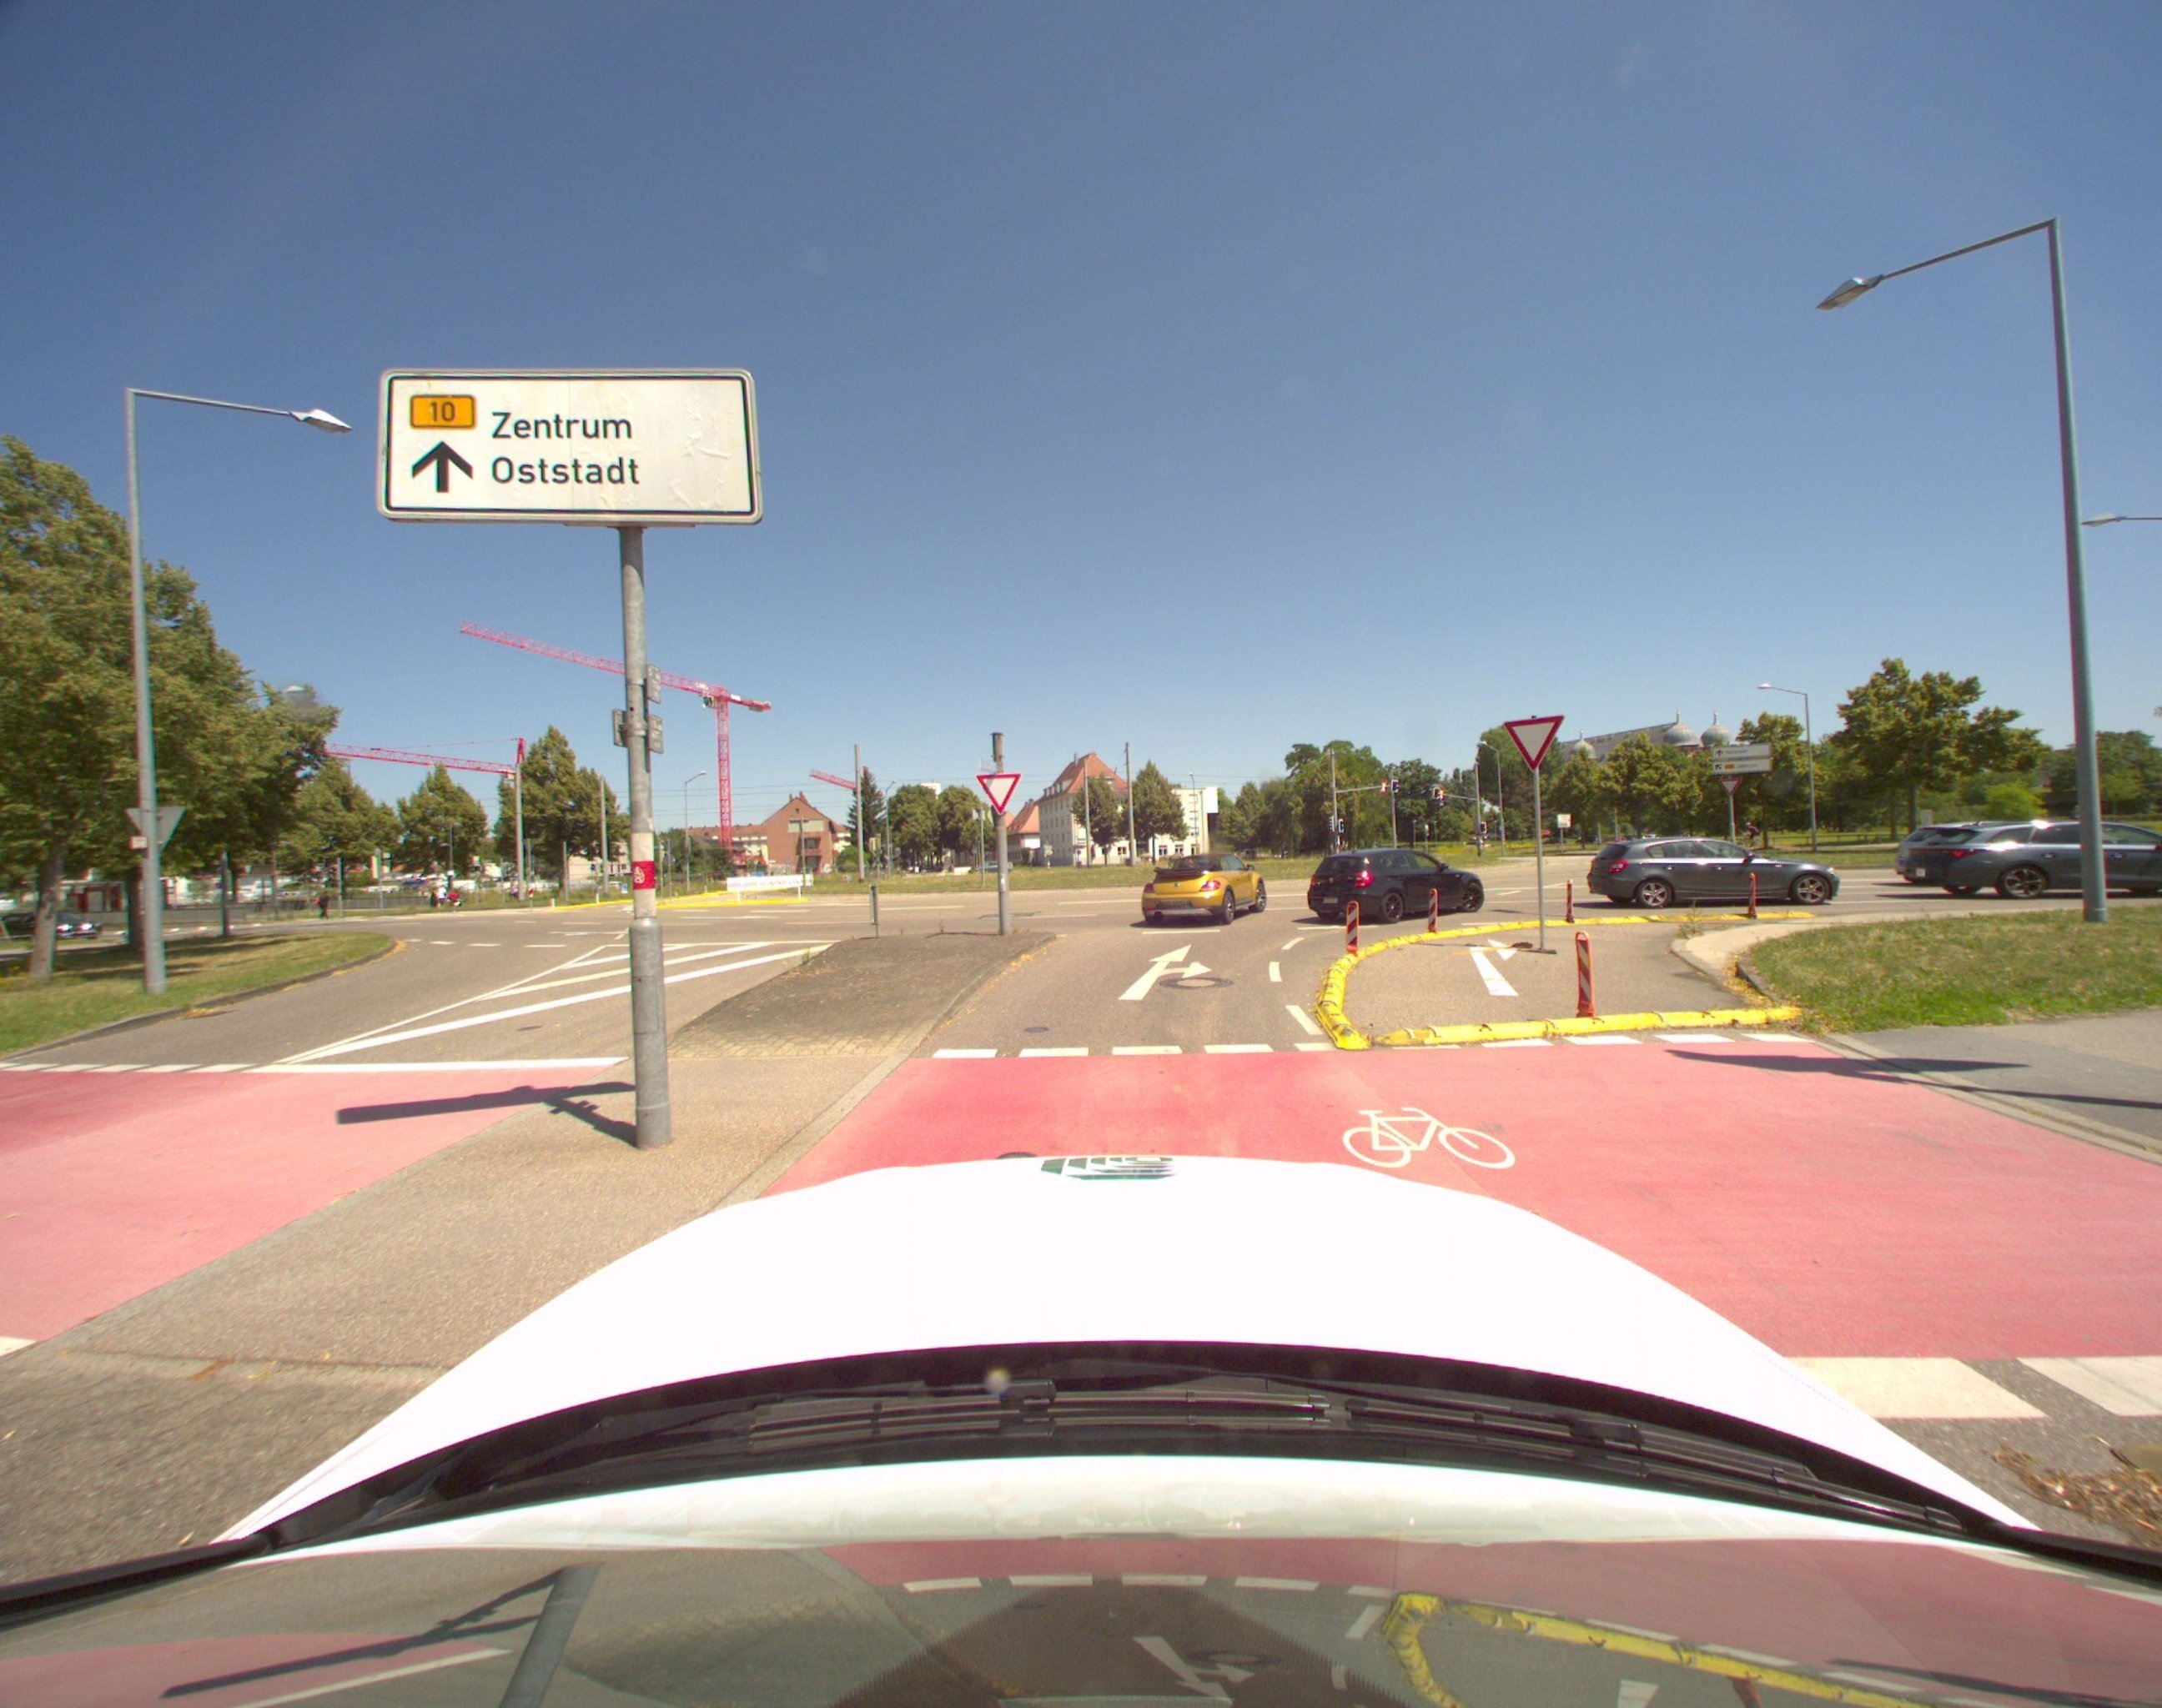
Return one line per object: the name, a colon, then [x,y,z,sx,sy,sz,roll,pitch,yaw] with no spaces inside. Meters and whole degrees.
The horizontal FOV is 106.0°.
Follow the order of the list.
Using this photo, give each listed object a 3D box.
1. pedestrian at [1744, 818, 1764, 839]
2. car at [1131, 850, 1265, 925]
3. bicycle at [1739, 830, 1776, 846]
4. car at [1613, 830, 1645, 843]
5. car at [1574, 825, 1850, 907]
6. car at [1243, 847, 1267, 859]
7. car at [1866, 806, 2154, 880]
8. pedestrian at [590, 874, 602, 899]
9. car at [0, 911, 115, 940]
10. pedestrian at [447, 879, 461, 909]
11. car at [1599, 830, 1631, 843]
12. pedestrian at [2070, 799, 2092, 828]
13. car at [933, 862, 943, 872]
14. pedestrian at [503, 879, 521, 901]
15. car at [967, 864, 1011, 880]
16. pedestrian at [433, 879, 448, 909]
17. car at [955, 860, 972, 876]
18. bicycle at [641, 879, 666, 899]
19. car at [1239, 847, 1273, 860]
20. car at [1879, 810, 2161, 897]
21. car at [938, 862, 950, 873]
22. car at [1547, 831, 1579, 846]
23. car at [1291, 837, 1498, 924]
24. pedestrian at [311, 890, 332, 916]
pedestrian: [48.002,-1.845,58.056,0.707,1.450,0.816,-1,-1,-8]
car: [2.650,0.652,17.702,1.809,1.403,3.683,-2,0,26]
bicycle: [48.116,-1.137,57.927,0.727,1.115,2.053,-1,-1,-7]
car: [87.789,-2.807,130.510,3.949,2.014,2.012,-2,-1,42]
car: [12.631,0.238,16.582,4.039,1.403,1.760,-3,1,13]
car: [31.379,-0.179,146.732,3.955,2.014,2.009,-1,-1,18]
car: [21.075,-0.225,18.735,3.949,1.422,1.793,-3,0,27]
pedestrian: [-40.386,2.715,67.831,0.599,2.014,0.595,-1,-1,3]
car: [-48.789,3.383,38.848,3.538,1.212,1.743,-1,-1,4]
pedestrian: [-41.896,2.671,54.426,0.631,1.934,0.640,-3,0,-31]
car: [84.845,-2.761,129.393,3.949,2.014,2.012,-2,-1,42]
pedestrian: [60.463,-2.450,49.251,0.674,1.731,0.572,-1,-1,-14]
car: [-30.395,2.824,173.335,1.993,2.014,3.986,-1,-1,-10]
pedestrian: [-43.273,2.719,61.948,0.773,1.640,0.764,-1,-1,15]
car: [-8.844,1.705,77.929,3.990,1.464,1.991,-1,-1,-13]
pedestrian: [-42.201,2.615,53.631,0.631,1.934,0.640,-3,0,-31]
car: [-15.274,1.845,105.749,1.993,2.014,3.986,-1,-1,-10]
bicycle: [-37.351,3.077,71.181,0.554,1.684,2.095,-1,-1,18]
car: [23.595,-0.062,109.673,3.987,1.684,1.993,-1,-1,-10]
car: [18.540,-0.025,15.448,4.403,1.418,2.010,-3,0,21]
car: [-24.618,2.442,146.554,1.993,2.014,3.986,-1,-1,-10]
car: [73.986,-2.369,124.987,3.949,2.014,2.012,-2,-1,42]
car: [6.406,0.463,16.543,4.013,1.440,1.785,-3,1,-30]
pedestrian: [-44.094,2.839,47.287,0.539,1.406,0.598,-3,0,6]
